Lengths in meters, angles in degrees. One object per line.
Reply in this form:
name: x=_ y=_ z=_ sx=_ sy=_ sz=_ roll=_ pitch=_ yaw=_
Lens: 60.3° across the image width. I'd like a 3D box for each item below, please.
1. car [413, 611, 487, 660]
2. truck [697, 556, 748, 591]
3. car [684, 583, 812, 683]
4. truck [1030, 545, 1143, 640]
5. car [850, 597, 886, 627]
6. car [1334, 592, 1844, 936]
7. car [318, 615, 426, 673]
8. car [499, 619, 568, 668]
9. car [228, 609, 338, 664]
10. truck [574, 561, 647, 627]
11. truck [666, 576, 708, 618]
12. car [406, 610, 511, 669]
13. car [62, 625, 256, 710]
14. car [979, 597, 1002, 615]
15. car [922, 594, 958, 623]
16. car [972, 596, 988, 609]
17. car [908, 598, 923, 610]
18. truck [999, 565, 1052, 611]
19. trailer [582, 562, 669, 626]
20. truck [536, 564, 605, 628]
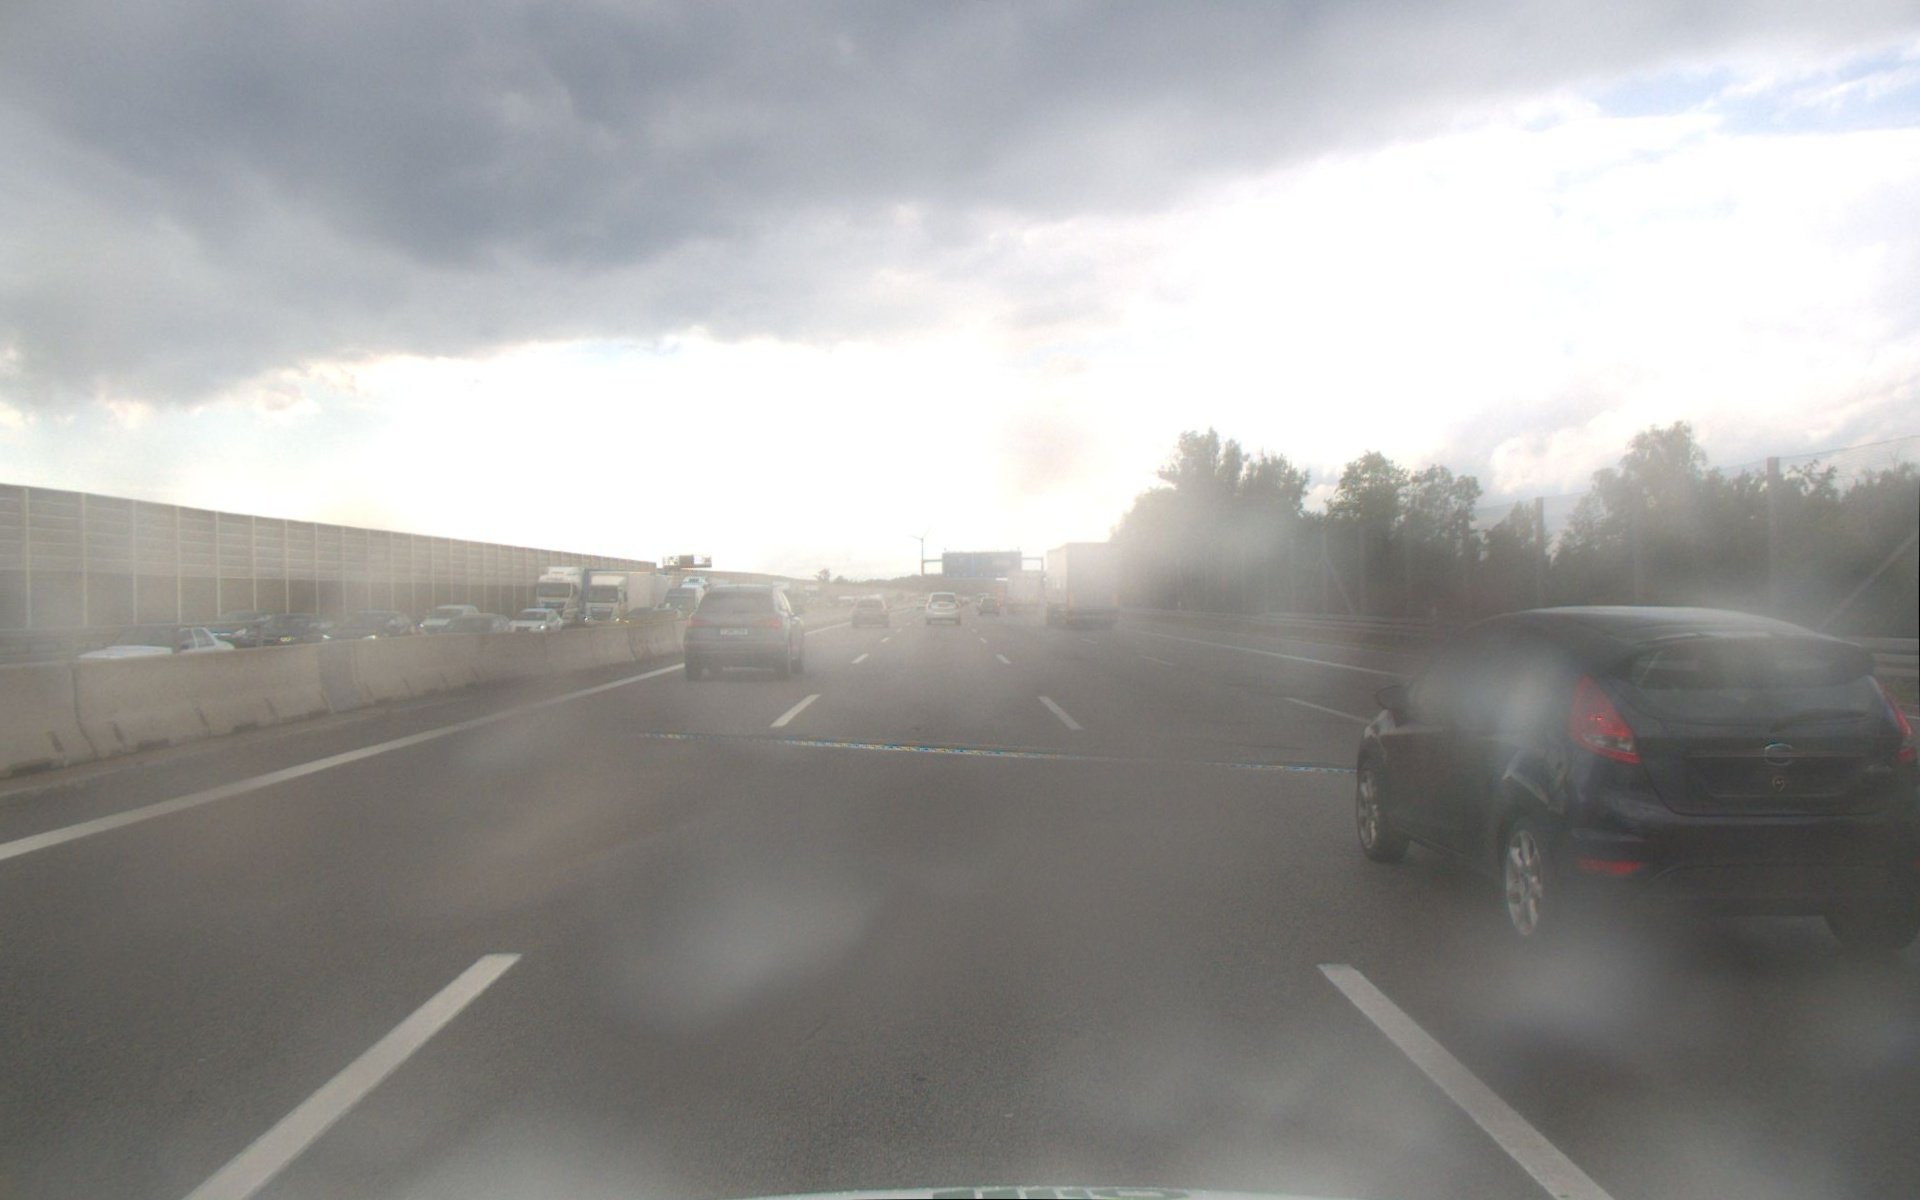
car: x=-22.048 y=1.500 z=71.664 sx=1.884 sy=1.939 sz=4.252 roll=-1 pitch=0 yaw=-1
truck: x=-24.768 y=-2.724 z=173.200 sx=3.200 sy=3.410 sz=16.082 roll=1 pitch=1 yaw=-1
car: x=-3.920 y=0.543 z=31.348 sx=1.870 sy=1.720 sz=5.167 roll=0 pitch=1 yaw=-1
truck: x=6.145 y=-0.426 z=83.095 sx=4.096 sy=4.363 sz=12.607 roll=1 pitch=1 yaw=-3
car: x=-4.582 y=0.575 z=81.906 sx=1.726 sy=1.393 sz=5.056 roll=0 pitch=1 yaw=-4
car: x=3.087 y=0.699 z=8.743 sx=1.418 sy=1.466 sz=3.163 roll=0 pitch=1 yaw=-2
car: x=-18.305 y=1.334 z=51.659 sx=1.884 sy=1.627 sz=4.252 roll=-1 pitch=0 yaw=-1
car: x=-18.343 y=1.837 z=71.319 sx=1.884 sy=1.939 sz=4.252 roll=-1 pitch=0 yaw=-1
car: x=-22.161 y=1.158 z=54.343 sx=1.884 sy=1.627 sz=4.252 roll=-1 pitch=0 yaw=-1
truck: x=-22.299 y=-0.398 z=106.012 sx=3.017 sy=4.003 sz=8.052 roll=1 pitch=0 yaw=-1
truck: x=-23.256 y=-0.301 z=141.328 sx=2.274 sy=3.406 sz=8.352 roll=1 pitch=1 yaw=-1
car: x=-15.128 y=1.160 z=50.109 sx=1.884 sy=1.627 sz=4.252 roll=-1 pitch=0 yaw=-1
car: x=-17.731 y=1.439 z=36.927 sx=1.884 sy=1.627 sz=5.095 roll=-1 pitch=1 yaw=-1
car: x=2.613 y=0.541 z=142.257 sx=1.799 sy=1.466 sz=4.054 roll=0 pitch=1 yaw=-2
car: x=-1.130 y=0.452 z=91.376 sx=1.737 sy=1.466 sz=4.052 roll=0 pitch=1 yaw=-4
car: x=2.437 y=0.291 z=201.338 sx=1.799 sy=1.466 sz=4.054 roll=0 pitch=1 yaw=-2
car: x=-5.708 y=0.519 z=212.874 sx=1.737 sy=1.466 sz=3.871 roll=0 pitch=1 yaw=-4
truck: x=6.204 y=-1.156 z=158.347 sx=4.158 sy=4.249 sz=11.985 roll=1 pitch=1 yaw=-2
trailer: x=-22.376 y=-0.454 z=111.662 sx=3.017 sy=4.003 sz=14.980 roll=1 pitch=1 yaw=-1
truck: x=-26.678 y=-0.312 z=113.638 sx=2.655 sy=4.146 sz=8.913 roll=1 pitch=0 yaw=-1
